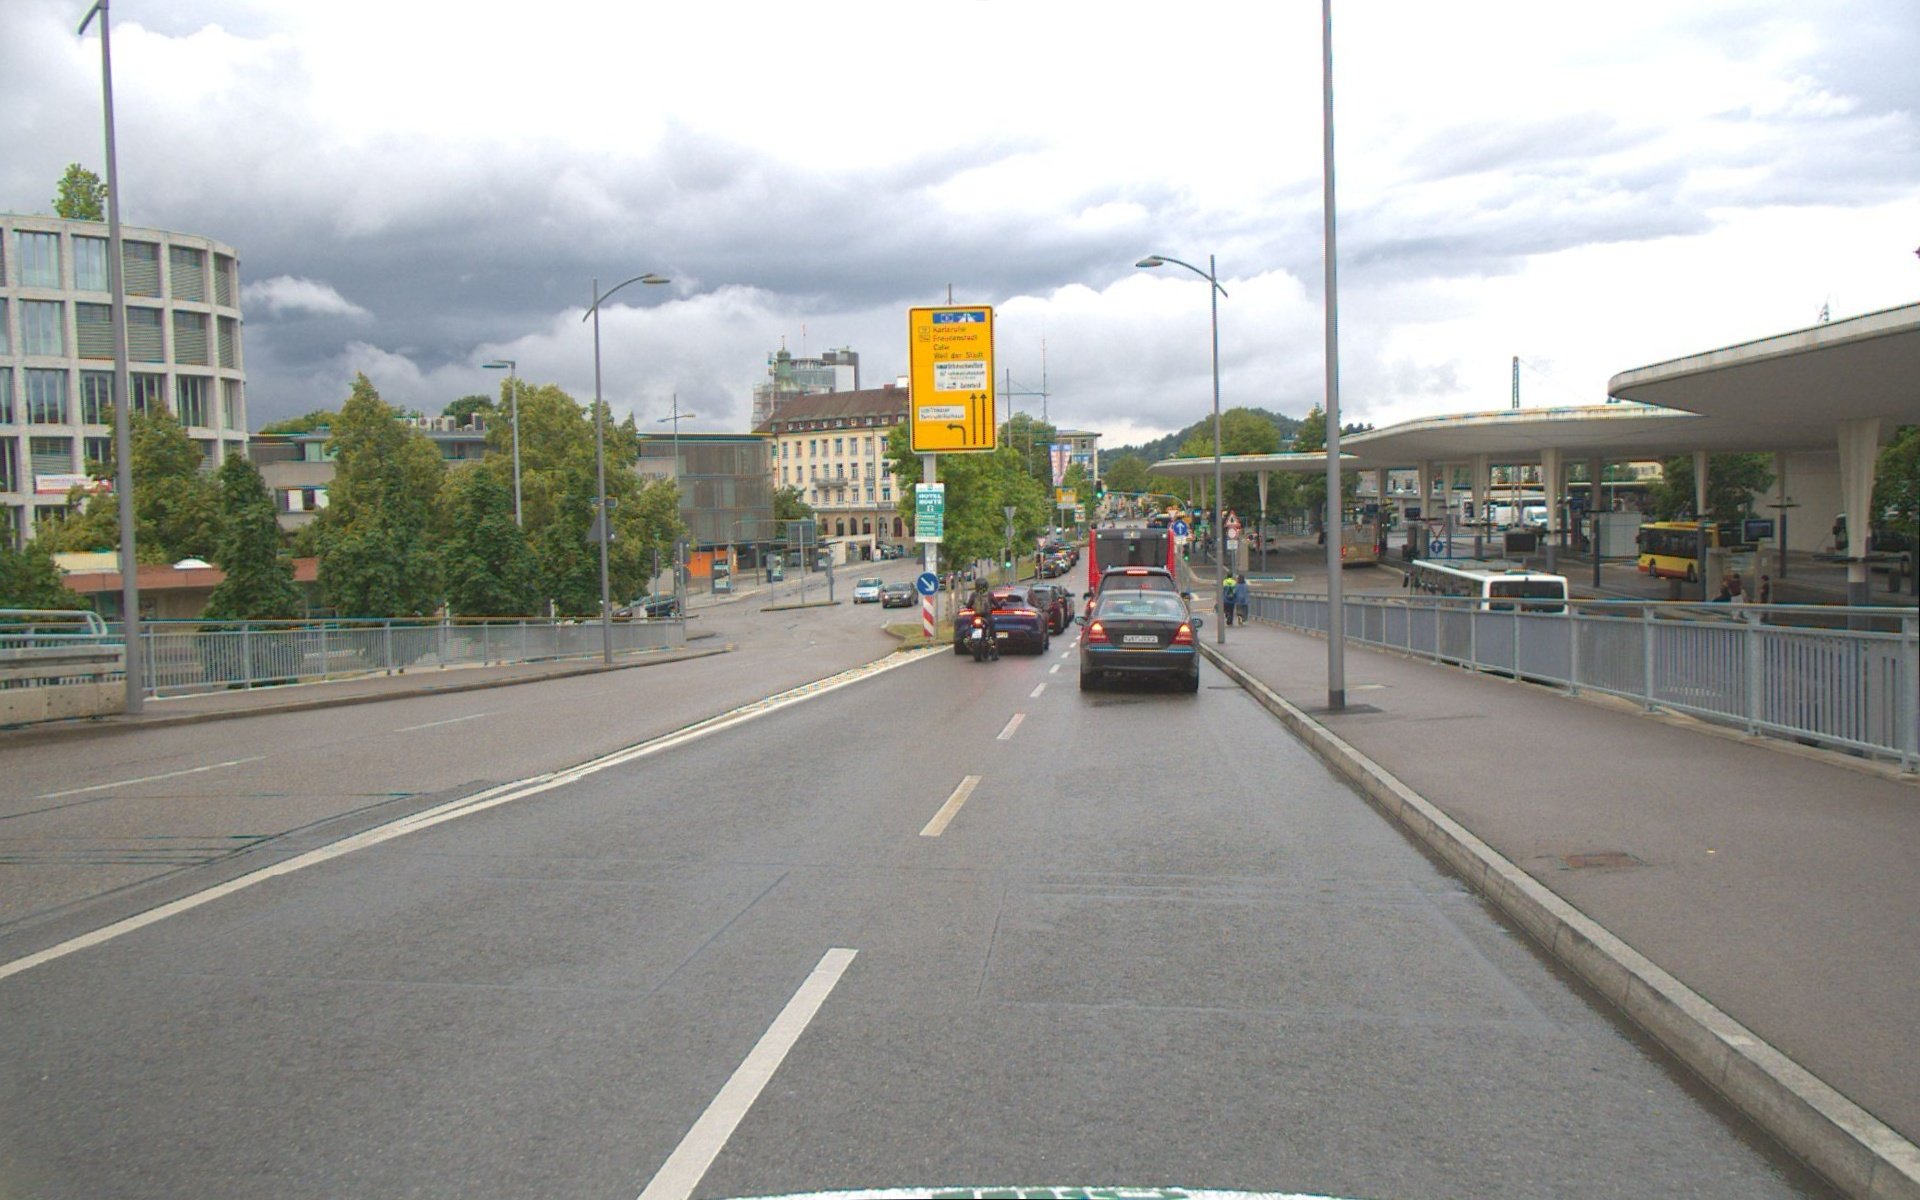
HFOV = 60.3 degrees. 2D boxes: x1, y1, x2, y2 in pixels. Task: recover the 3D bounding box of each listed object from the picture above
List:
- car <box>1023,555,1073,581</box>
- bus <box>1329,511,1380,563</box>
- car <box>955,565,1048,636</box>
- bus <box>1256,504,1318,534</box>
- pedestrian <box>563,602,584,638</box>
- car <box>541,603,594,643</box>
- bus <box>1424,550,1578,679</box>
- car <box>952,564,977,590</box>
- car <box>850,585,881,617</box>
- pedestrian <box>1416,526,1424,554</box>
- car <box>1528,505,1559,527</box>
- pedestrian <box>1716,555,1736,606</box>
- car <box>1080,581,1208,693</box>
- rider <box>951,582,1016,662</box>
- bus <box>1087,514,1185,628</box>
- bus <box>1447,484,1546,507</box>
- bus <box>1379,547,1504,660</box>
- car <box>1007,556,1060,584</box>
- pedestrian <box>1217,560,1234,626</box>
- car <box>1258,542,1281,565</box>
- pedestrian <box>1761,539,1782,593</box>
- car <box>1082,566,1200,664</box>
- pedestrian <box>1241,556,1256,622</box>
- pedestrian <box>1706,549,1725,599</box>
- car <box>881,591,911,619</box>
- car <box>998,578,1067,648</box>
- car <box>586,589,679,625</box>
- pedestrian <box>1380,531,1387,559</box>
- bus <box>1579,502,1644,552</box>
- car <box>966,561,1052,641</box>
[{"bbox_3d":[7.406,-2.734,139.102,3.902,2.048,2.002,-1,1,10],"label":"car"},{"bbox_3d":[29.490,-4.613,123.919,3.110,3.663,10.520,-1,1,11],"label":"bus"},{"bbox_3d":[0.961,-0.034,36.449,1.722,1.461,4.003,0,1,6],"label":"car"},{"bbox_3d":[39.890,-9.875,202.030,7.048,3.455,3.083,-2,2,2],"label":"bus"},{"bbox_3d":[-15.624,0.799,66.842,0.634,1.433,0.531,-1,2,8],"label":"pedestrian"},{"bbox_3d":[-23.711,1.373,99.885,1.973,2.048,3.960,3,2,-31],"label":"car"},{"bbox_3d":[16.480,0.325,50.894,2.591,3.291,7.078,1,5,2],"label":"bus"},{"bbox_3d":[0.383,-1.936,139.293,1.953,2.049,4.201,-2,0,-1],"label":"car"},{"bbox_3d":[-6.407,0.065,112.329,1.953,2.049,3.999,-2,1,-2],"label":"car"},{"bbox_3d":[33.441,-4.350,120.315,0.415,2.049,0.484,-1,-1,8],"label":"pedestrian"},{"bbox_3d":[58.843,-8.469,166.799,1.951,2.048,4.004,-2,2,5],"label":"car"},{"bbox_3d":[31.169,-0.787,67.324,0.532,2.048,0.580,-1,1,7],"label":"pedestrian"},{"bbox_3d":[2.671,0.466,24.029,1.670,1.444,3.728,1,1,6],"label":"car"},{"bbox_3d":[0.484,0.410,32.545,0.862,1.497,2.198,1,1,12],"label":"rider"},{"bbox_3d":[5.520,-0.911,52.395,2.767,3.245,10.316,0,1,5],"label":"bus"},{"bbox_3d":[58.019,-11.291,179.118,9.955,2.048,2.171,-1,1,3],"label":"bus"},{"bbox_3d":[16.764,0.008,58.015,2.591,3.291,7.078,-2,5,3],"label":"bus"},{"bbox_3d":[5.920,-2.422,132.989,3.902,2.048,2.002,-1,1,10],"label":"car"},{"bbox_3d":[8.386,-0.208,52.195,0.479,2.049,0.470,-1,-1,8],"label":"pedestrian"},{"bbox_3d":[28.050,-4.212,149.760,1.951,2.048,4.004,-1,1,11],"label":"car"},{"bbox_3d":[31.117,-1.320,63.430,0.472,2.048,0.562,-2,1,-1],"label":"pedestrian"},{"bbox_3d":[3.491,0.217,31.283,1.788,1.716,4.004,0,1,12],"label":"car"},{"bbox_3d":[9.095,-0.346,52.126,0.415,2.049,0.484,-1,-1,8],"label":"pedestrian"},{"bbox_3d":[31.375,-1.089,68.695,0.532,2.048,0.580,-1,1,7],"label":"pedestrian"},{"bbox_3d":[-3.977,0.281,103.681,1.796,1.553,4.593,-2,1,-2],"label":"car"},{"bbox_3d":[2.295,0.361,51.367,1.951,2.041,4.003,0,1,5],"label":"car"},{"bbox_3d":[-21.142,0.405,106.890,5.576,2.048,1.971,-3,2,-40],"label":"car"},{"bbox_3d":[31.374,-4.076,122.469,0.415,2.048,0.484,-1,1,8],"label":"pedestrian"},{"bbox_3d":[45.123,-5.078,114.727,2.545,3.265,7.001,-1,2,8],"label":"bus"},{"bbox_3d":[1.367,-0.024,44.424,1.951,2.041,4.003,0,1,7],"label":"car"}]
